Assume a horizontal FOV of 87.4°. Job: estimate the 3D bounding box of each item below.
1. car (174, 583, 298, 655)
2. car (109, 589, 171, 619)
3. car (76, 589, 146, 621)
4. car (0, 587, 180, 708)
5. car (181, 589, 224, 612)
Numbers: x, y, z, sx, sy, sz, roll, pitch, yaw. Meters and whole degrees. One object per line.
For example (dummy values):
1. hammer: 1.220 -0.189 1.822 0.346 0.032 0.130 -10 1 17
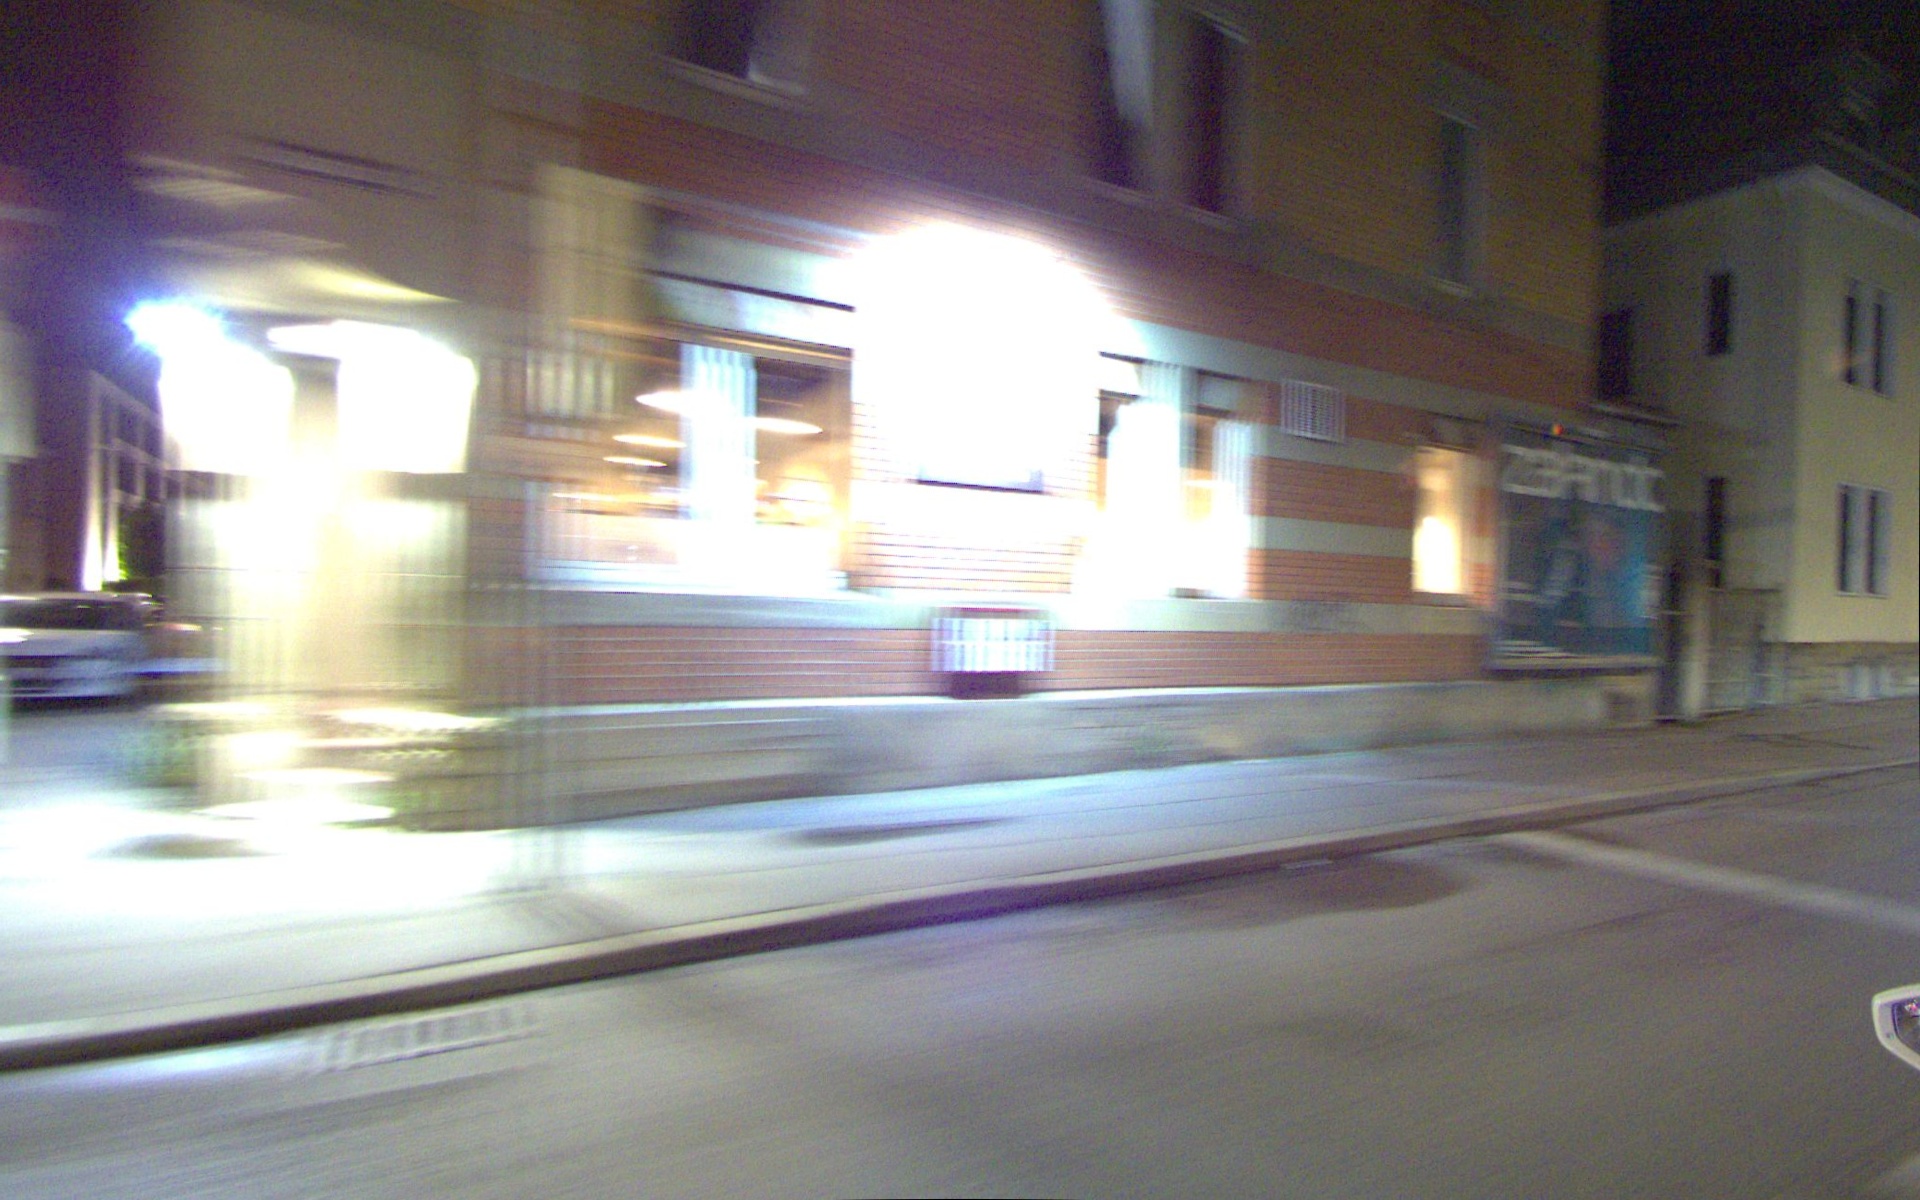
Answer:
1. car: -18.032 0.466 25.217 1.976 1.620 4.256 3 -1 -29
2. car: -42.082 0.208 51.642 1.746 1.447 3.969 1 0 -29
3. car: -39.698 0.220 47.066 1.746 1.447 3.969 1 0 -29
4. car: -12.134 0.561 13.743 1.781 1.421 4.253 1 -1 -31
5. car: -51.136 0.025 67.843 1.746 1.447 3.969 1 0 -29
